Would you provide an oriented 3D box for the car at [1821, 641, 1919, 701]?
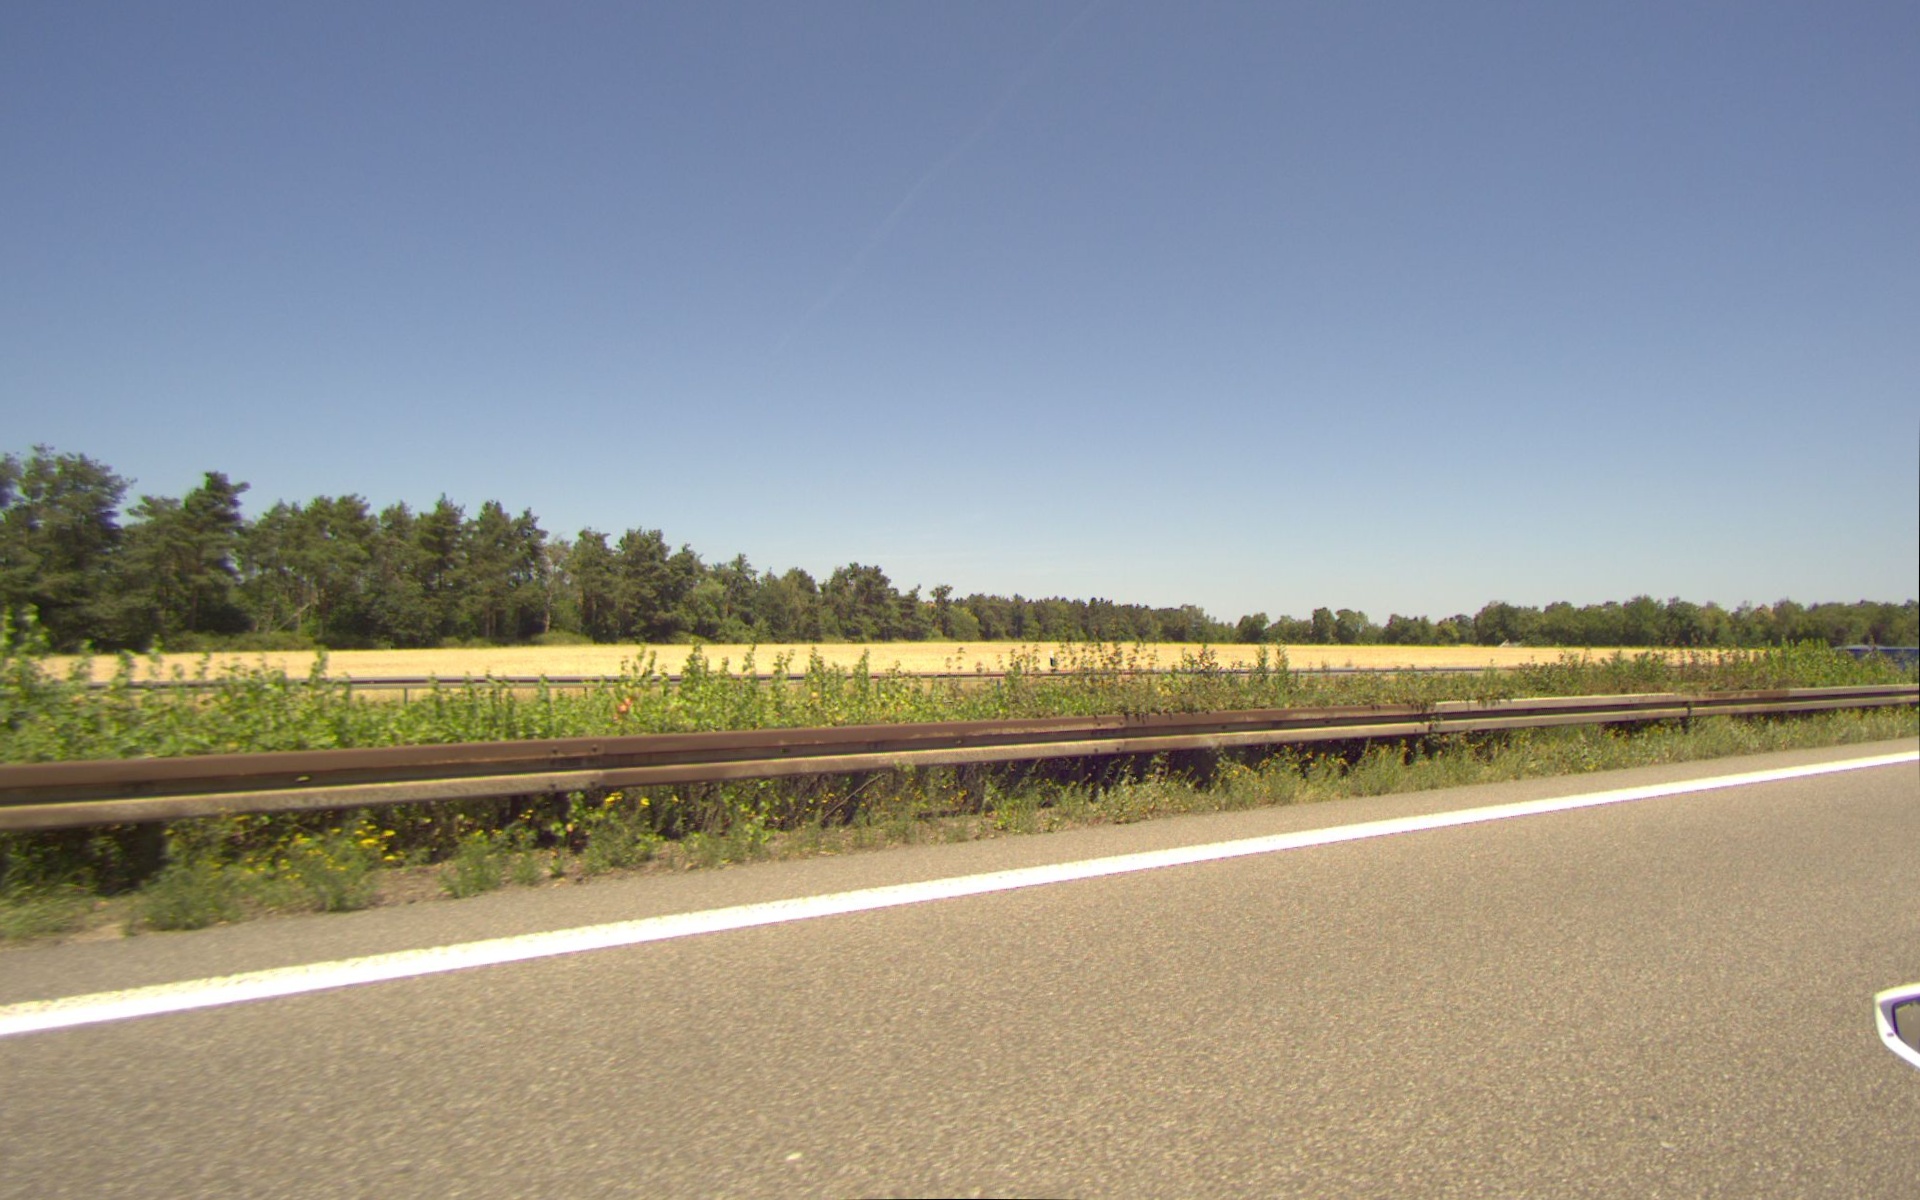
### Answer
[{"bbox_3d":[29.494,2.210,32.051,3.953,1.801,1.866,2,-2,-30],"label":"car"}]
